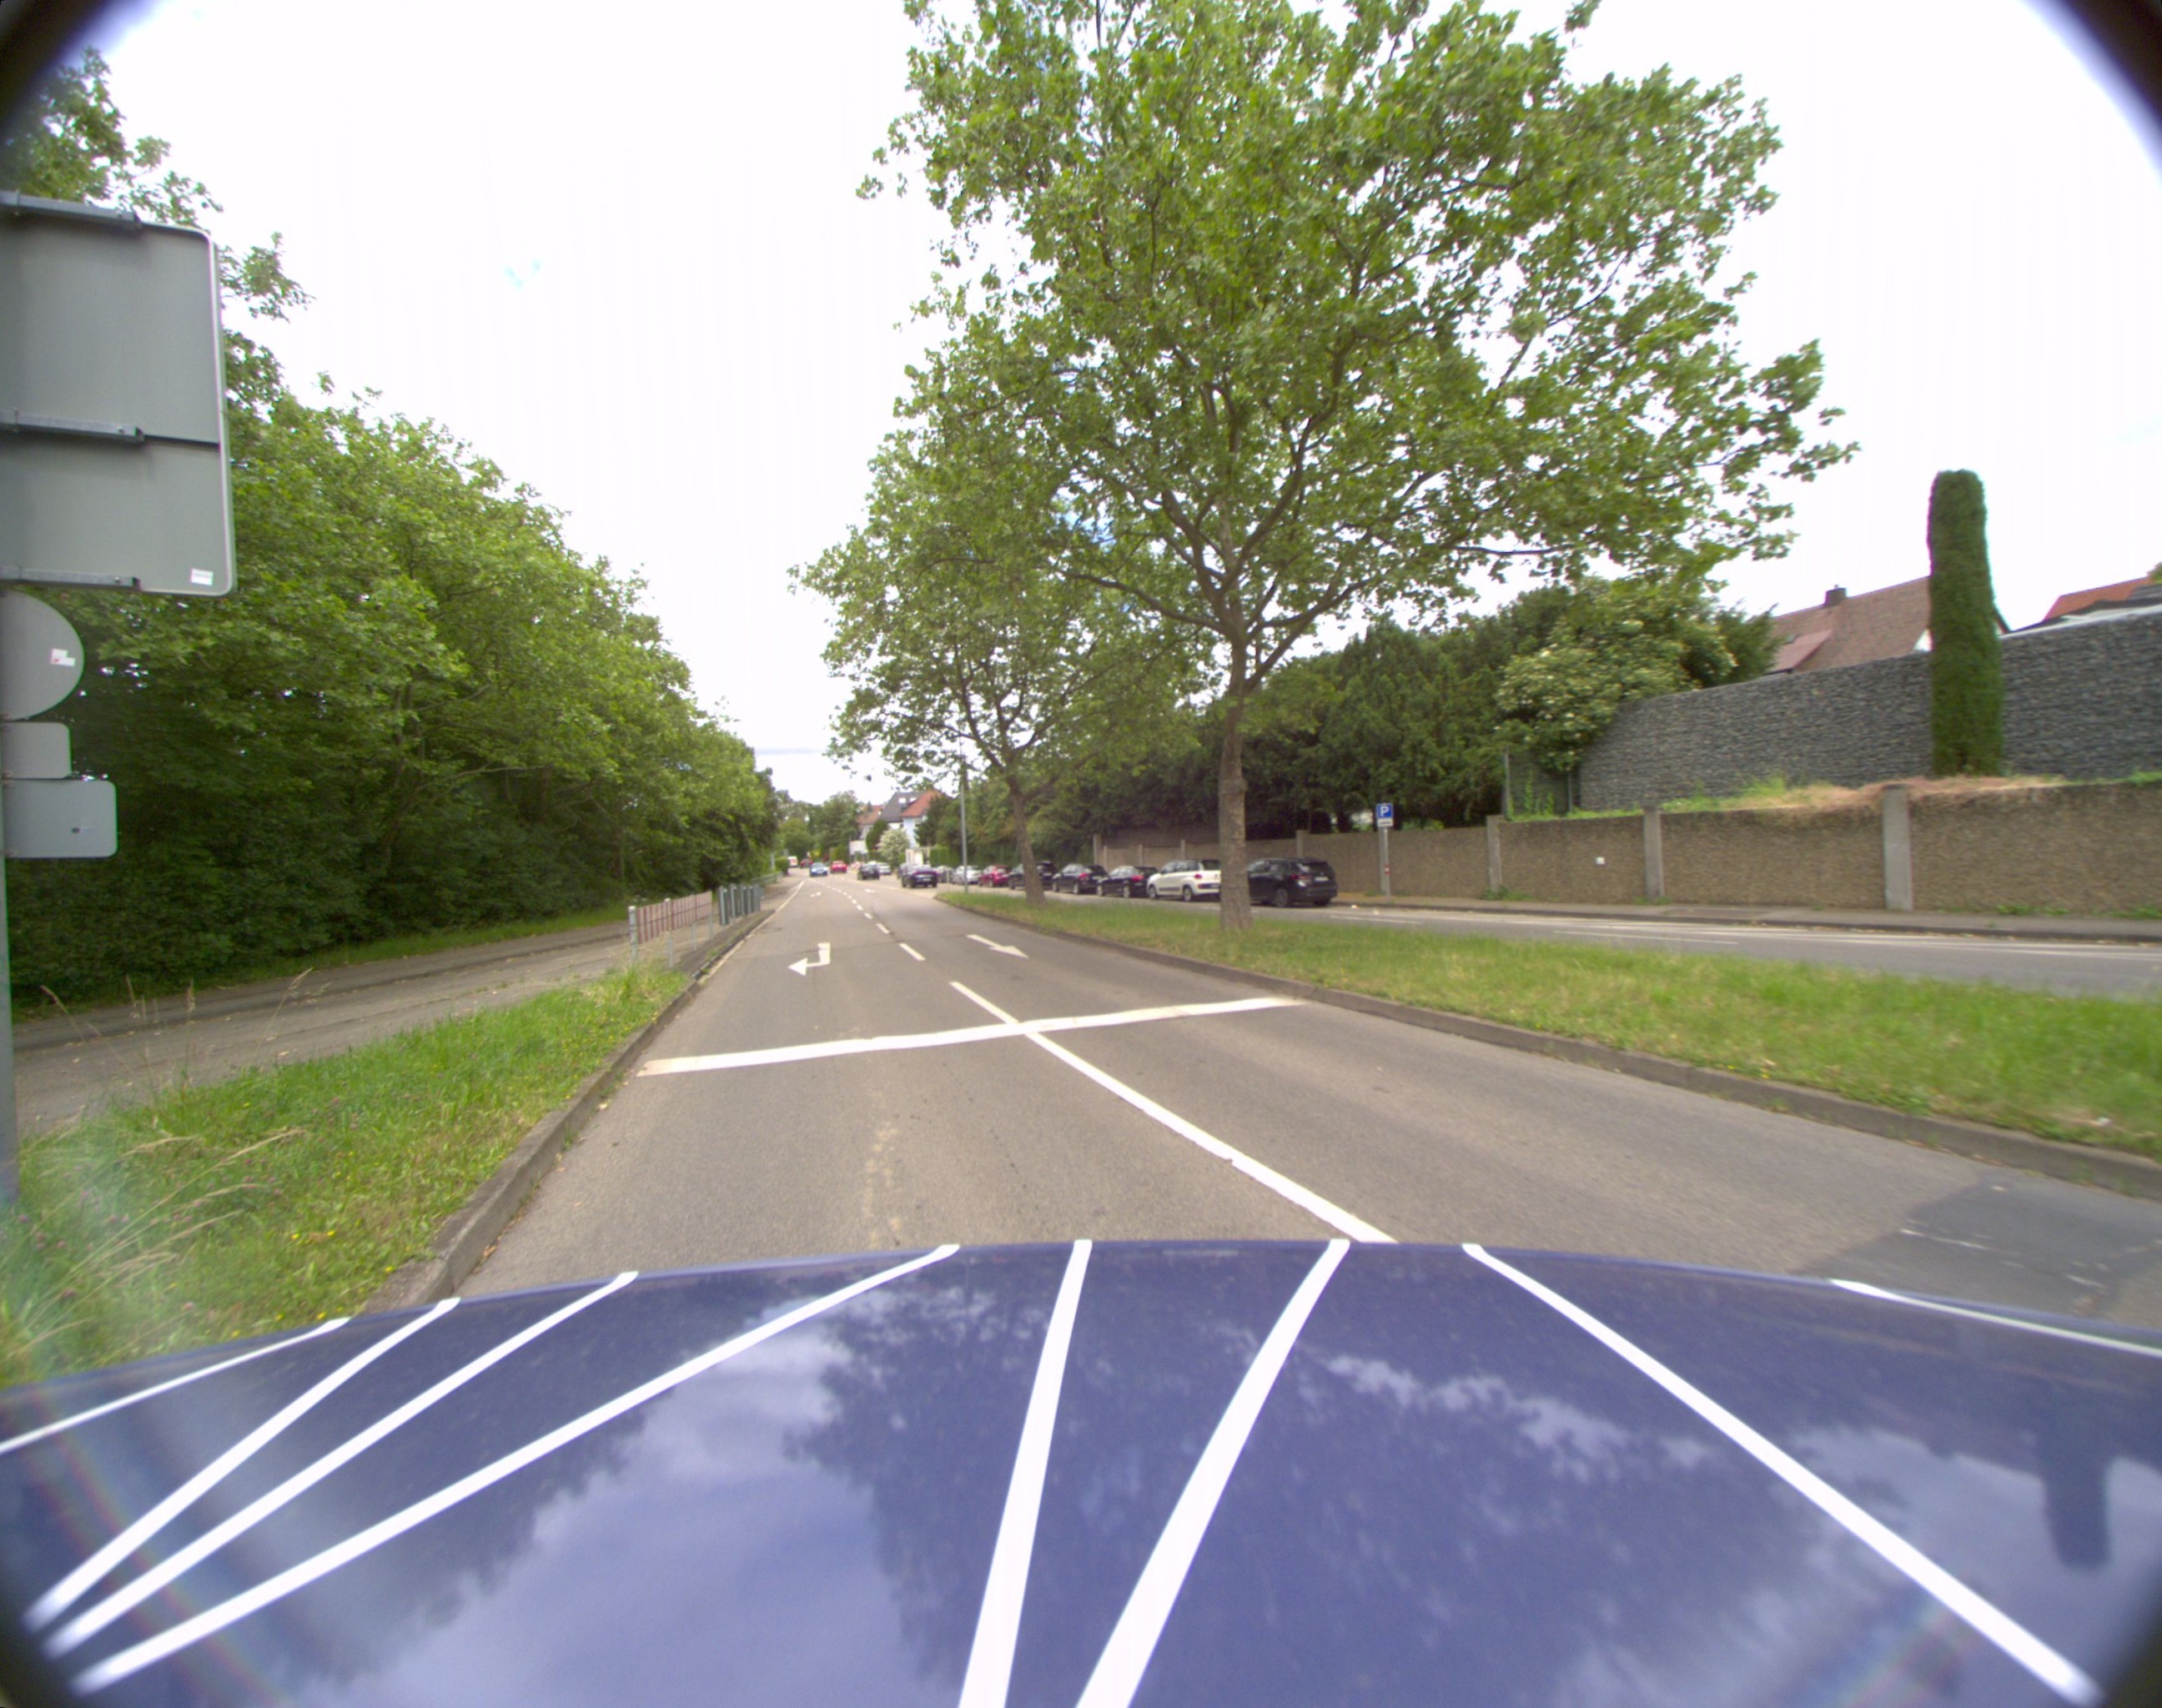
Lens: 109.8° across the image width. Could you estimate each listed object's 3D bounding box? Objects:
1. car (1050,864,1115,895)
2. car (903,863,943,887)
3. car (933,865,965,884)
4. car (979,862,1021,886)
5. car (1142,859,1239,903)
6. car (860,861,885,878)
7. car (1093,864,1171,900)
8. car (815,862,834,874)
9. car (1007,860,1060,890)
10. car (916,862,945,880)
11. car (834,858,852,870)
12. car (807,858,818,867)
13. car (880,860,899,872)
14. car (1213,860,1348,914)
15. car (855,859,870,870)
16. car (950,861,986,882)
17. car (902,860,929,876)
[{"bbox_3d":[0.027,1.313,39.370,1.800,1.496,4.031,-1,-1,-25],"label":"car"},{"bbox_3d":[-11.394,1.514,54.531,1.799,1.606,4.579,-1,-1,-24],"label":"car"},{"bbox_3d":[-10.995,1.656,63.046,1.689,1.496,3.824,-1,-1,-25],"label":"car"},{"bbox_3d":[-5.521,1.330,51.296,1.689,1.496,3.824,-1,-1,-25],"label":"car"},{"bbox_3d":[4.262,1.044,30.308,1.800,1.606,4.209,-1,-1,-25],"label":"car"},{"bbox_3d":[-20.927,1.522,76.196,1.847,1.606,3.906,-1,-1,-24],"label":"car"},{"bbox_3d":[2.221,1.241,34.408,1.800,1.496,4.031,-1,-1,-25],"label":"car"},{"bbox_3d":[-31.540,1.683,93.348,1.799,1.420,4.140,-1,-1,-24],"label":"car"},{"bbox_3d":[-2.852,1.228,44.444,1.799,1.594,4.031,-3,0,-23],"label":"car"},{"bbox_3d":[-13.512,1.517,67.941,1.689,1.496,3.824,-1,-1,-25],"label":"car"},{"bbox_3d":[-30.991,1.318,98.909,1.689,1.496,3.824,-1,-1,-25],"label":"car"},{"bbox_3d":[-48.127,1.558,136.179,1.674,1.536,3.994,-2,0,-19],"label":"car"},{"bbox_3d":[-22.320,1.405,88.516,1.688,1.321,3.825,-3,0,-21],"label":"car"},{"bbox_3d":[6.479,1.040,25.237,1.800,1.606,4.453,-1,-1,-27],"label":"car"},{"bbox_3d":[-29.793,1.472,103.549,1.688,1.321,3.825,-3,0,-21],"label":"car"},{"bbox_3d":[-8.557,1.340,57.337,1.689,1.496,3.824,-1,-1,-25],"label":"car"},{"bbox_3d":[-15.862,1.340,72.579,1.689,1.496,3.824,-1,-1,-25],"label":"car"}]
